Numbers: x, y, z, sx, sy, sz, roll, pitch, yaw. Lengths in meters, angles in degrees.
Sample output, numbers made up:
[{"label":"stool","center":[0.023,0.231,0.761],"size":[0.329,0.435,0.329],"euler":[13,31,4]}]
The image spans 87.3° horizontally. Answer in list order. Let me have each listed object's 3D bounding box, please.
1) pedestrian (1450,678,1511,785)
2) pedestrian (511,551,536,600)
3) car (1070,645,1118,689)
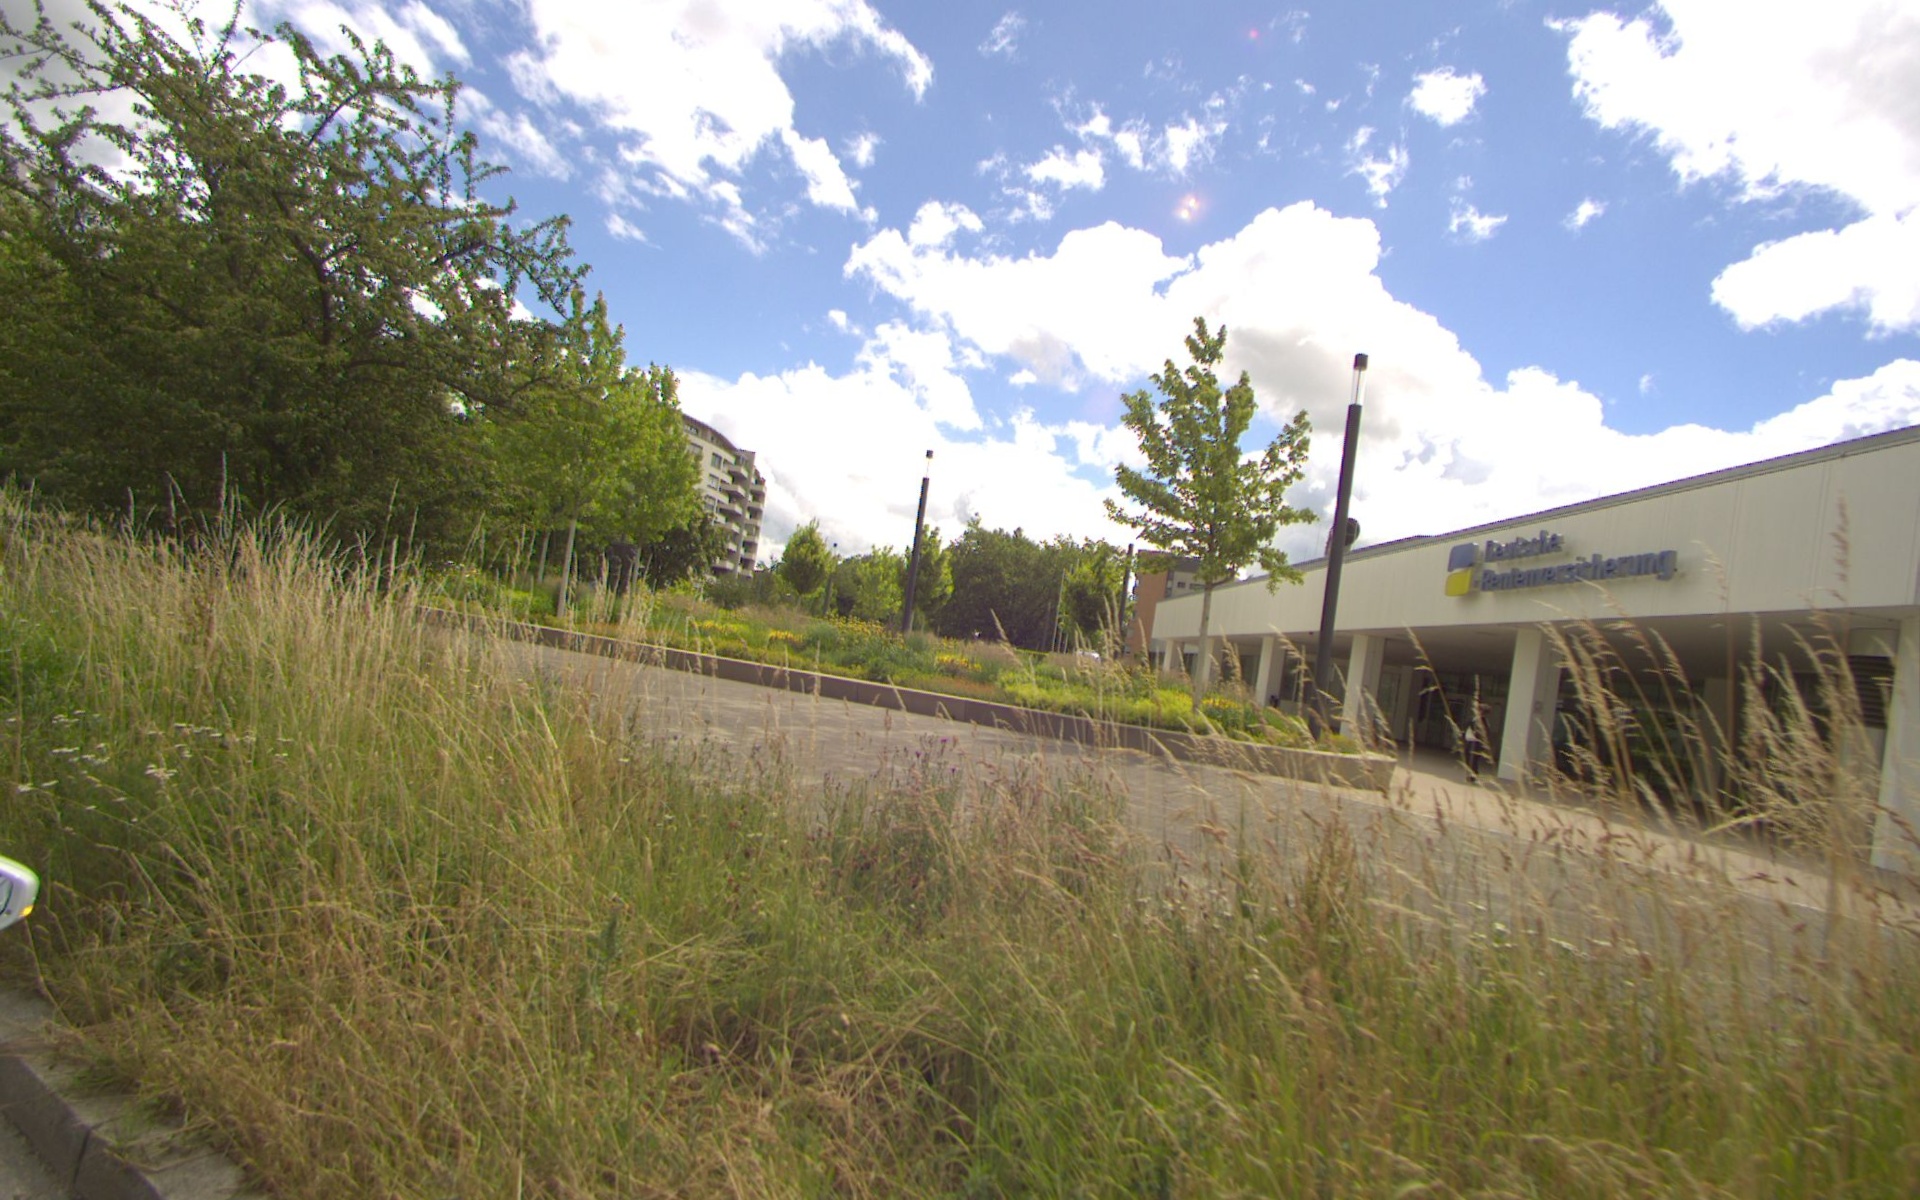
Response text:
[{"label":"pedestrian","center":[10.565,2.657,20.432],"size":[0.685,2.037,0.606],"euler":[7,-1,-18]},{"label":"pedestrian","center":[-18.285,-1.021,42.179],"size":[0.399,1.973,0.577],"euler":[8,-1,32]},{"label":"car","center":[9.088,4.538,68.768],"size":[2.406,2.501,4.792],"euler":[9,-2,2]}]
